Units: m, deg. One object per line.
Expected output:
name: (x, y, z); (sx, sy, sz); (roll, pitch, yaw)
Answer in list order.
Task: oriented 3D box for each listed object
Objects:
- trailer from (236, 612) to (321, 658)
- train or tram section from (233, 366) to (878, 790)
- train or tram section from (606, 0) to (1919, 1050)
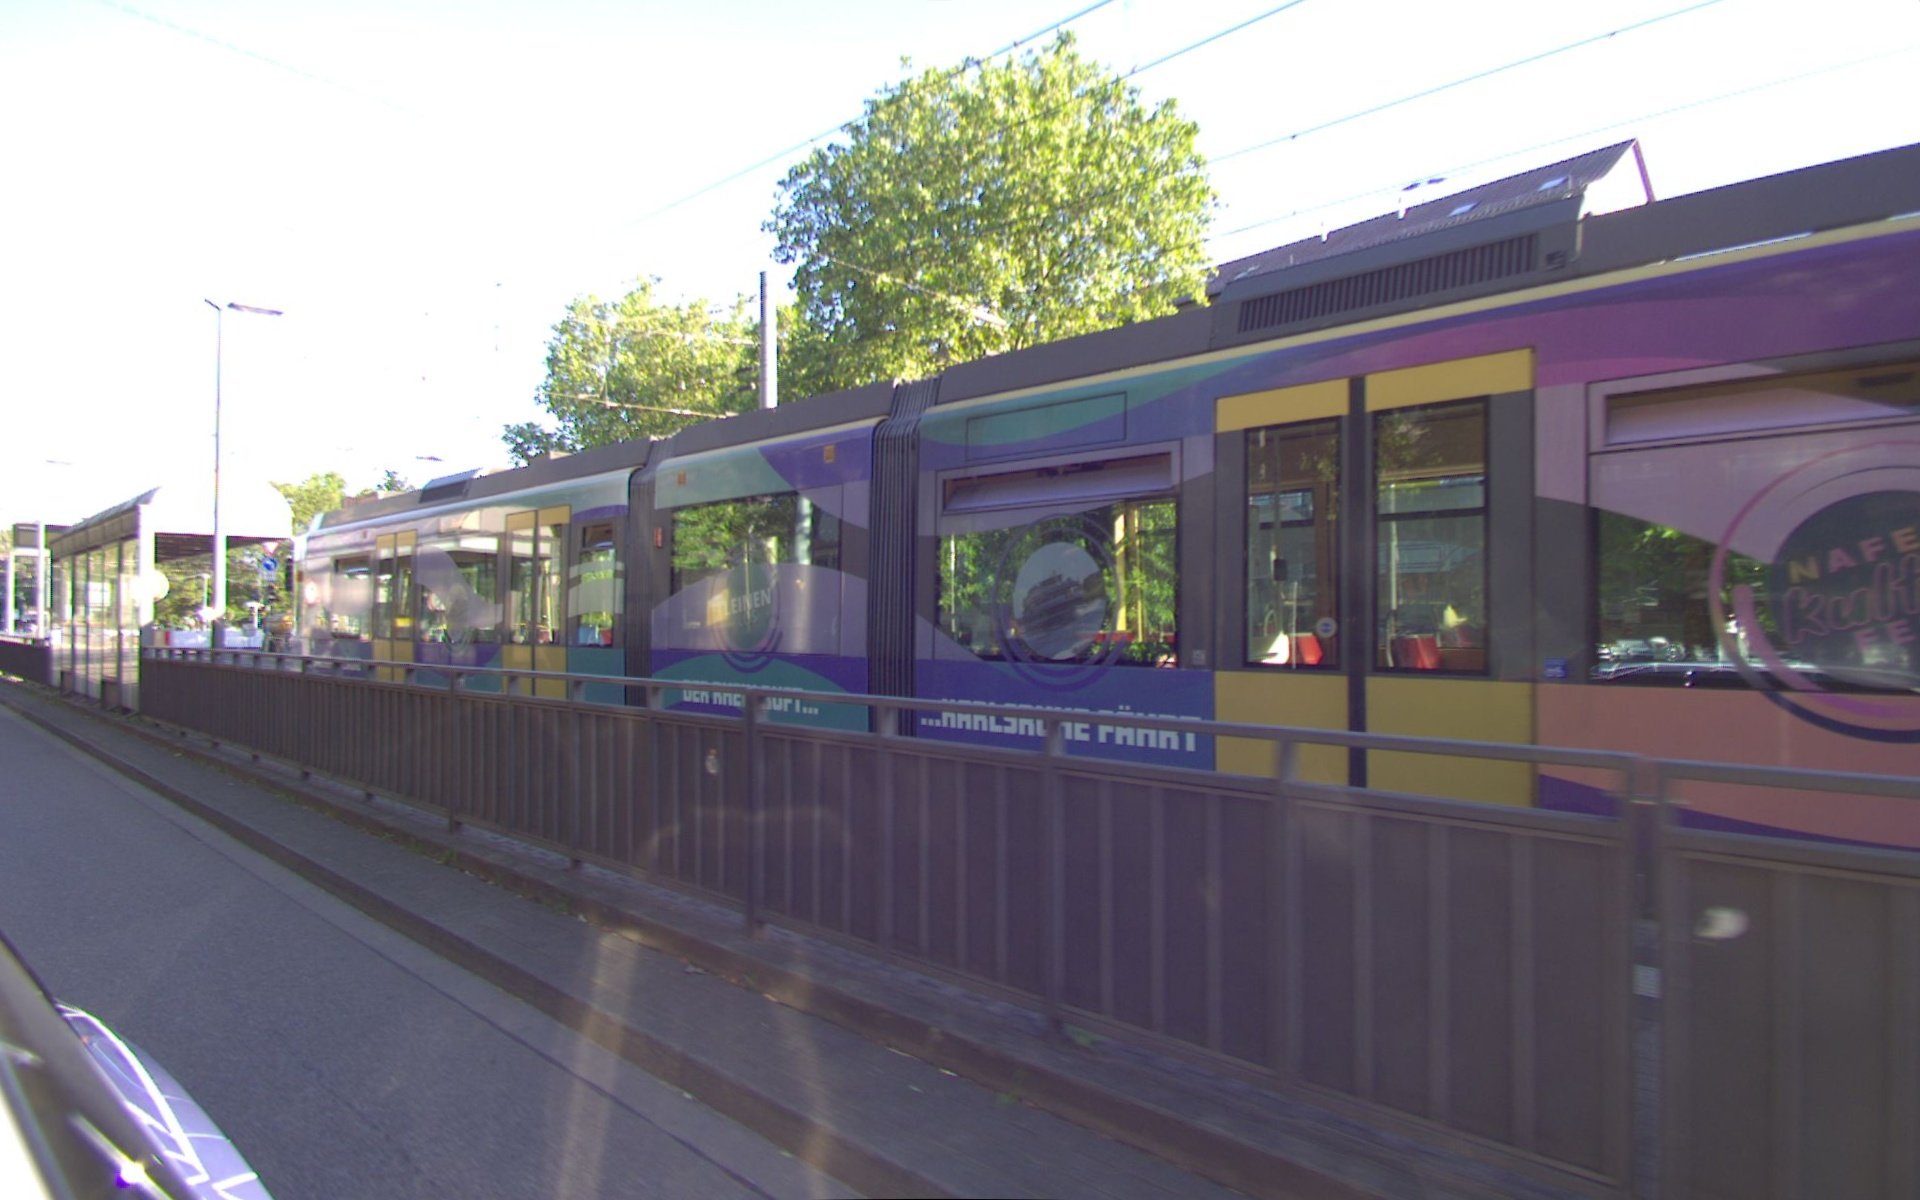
trailer: (-33.019, 1.679, 49.025); (4.336, 2.131, 1.976); (-1, -1, 35)
train or tram section: (-6.729, -0.061, 14.085); (13.394, 3.560, 2.819); (-1, -2, 43)
train or tram section: (2.460, -0.283, 5.707); (12.783, 3.576, 2.699); (-1, -2, 43)
